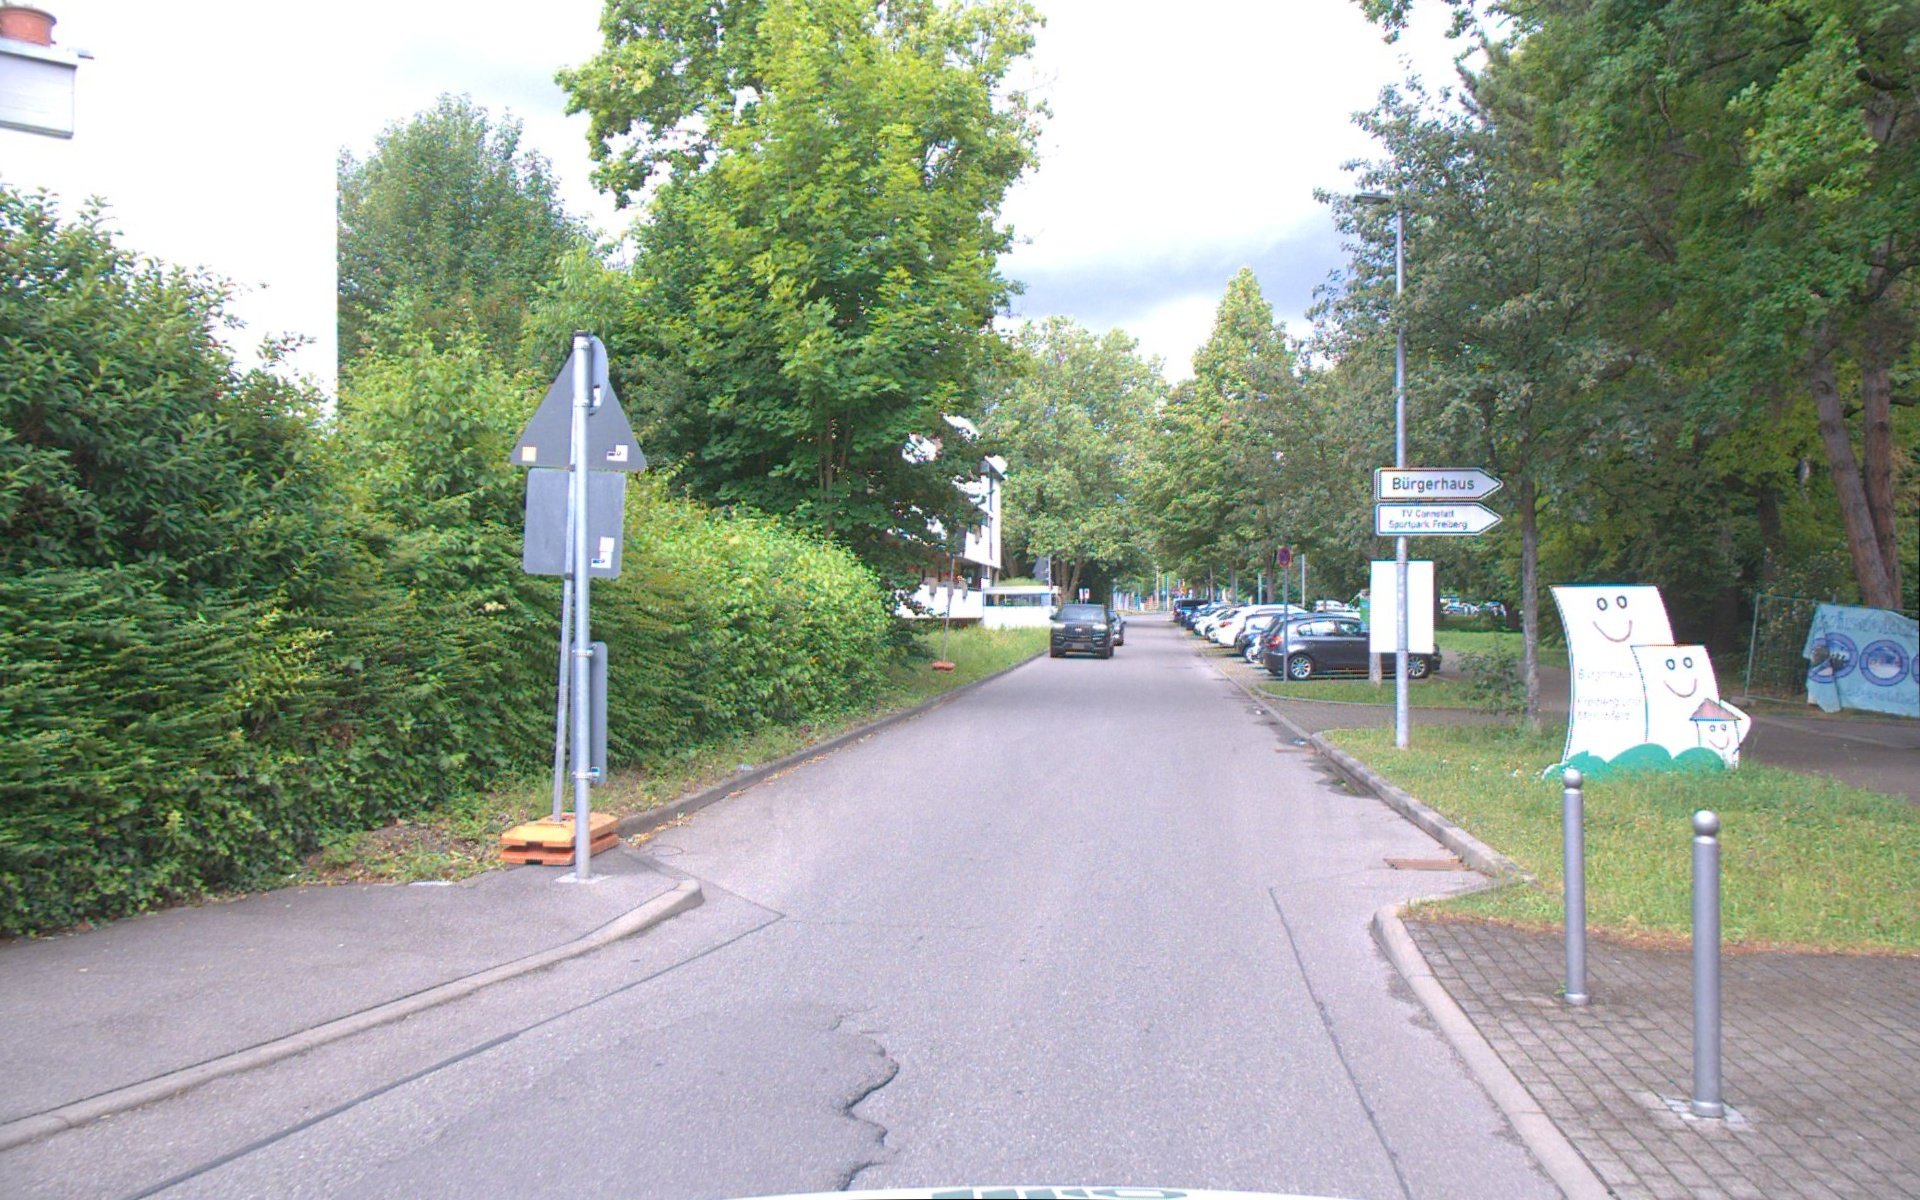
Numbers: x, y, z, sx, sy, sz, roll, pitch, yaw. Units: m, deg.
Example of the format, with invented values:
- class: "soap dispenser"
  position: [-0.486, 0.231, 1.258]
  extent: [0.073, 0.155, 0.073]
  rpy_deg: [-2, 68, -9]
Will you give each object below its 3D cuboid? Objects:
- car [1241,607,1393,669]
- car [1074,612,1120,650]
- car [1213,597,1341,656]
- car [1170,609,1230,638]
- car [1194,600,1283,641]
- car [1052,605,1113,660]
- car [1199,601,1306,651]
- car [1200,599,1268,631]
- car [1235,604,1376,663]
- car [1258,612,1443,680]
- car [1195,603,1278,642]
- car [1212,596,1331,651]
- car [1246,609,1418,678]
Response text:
- class: "car"
  position: [10.005, 1.057, 46.550]
  extent: [3.977, 1.596, 1.823]
  rpy_deg: [-2, -1, 6]
- class: "car"
  position: [5.982, 1.345, 72.121]
  extent: [1.927, 1.603, 4.341]
  rpy_deg: [0, -1, 6]
- class: "car"
  position: [10.736, 0.911, 56.202]
  extent: [3.978, 1.717, 1.823]
  rpy_deg: [-4, -1, 3]
- class: "car"
  position: [17.218, 1.696, 118.681]
  extent: [3.978, 1.801, 1.823]
  rpy_deg: [-4, -1, 3]
- class: "car"
  position: [13.428, 0.980, 79.833]
  extent: [3.978, 1.717, 1.823]
  rpy_deg: [-4, -1, 3]
- class: "car"
  position: [4.115, 1.059, 55.153]
  extent: [1.927, 1.778, 4.341]
  rpy_deg: [0, -1, 6]
- class: "car"
  position: [11.770, 1.048, 66.678]
  extent: [3.978, 1.717, 1.823]
  rpy_deg: [-4, -1, 3]
- class: "car"
  position: [17.413, 0.965, 105.347]
  extent: [3.978, 1.801, 1.823]
  rpy_deg: [-4, -1, 3]
- class: "car"
  position: [10.641, 1.031, 51.162]
  extent: [3.978, 1.514, 1.823]
  rpy_deg: [-4, -1, 3]
- class: "car"
  position: [9.103, 1.082, 38.827]
  extent: [3.977, 1.459, 2.001]
  rpy_deg: [-2, -2, 6]
- class: "car"
  position: [14.272, 1.150, 85.525]
  extent: [3.978, 1.717, 1.823]
  rpy_deg: [-4, -1, 3]
- class: "car"
  position: [11.301, 0.864, 60.244]
  extent: [3.978, 1.717, 1.823]
  rpy_deg: [-4, -1, 3]
- class: "car"
  position: [9.296, 1.114, 41.574]
  extent: [3.977, 1.596, 1.823]
  rpy_deg: [-2, -2, 6]
